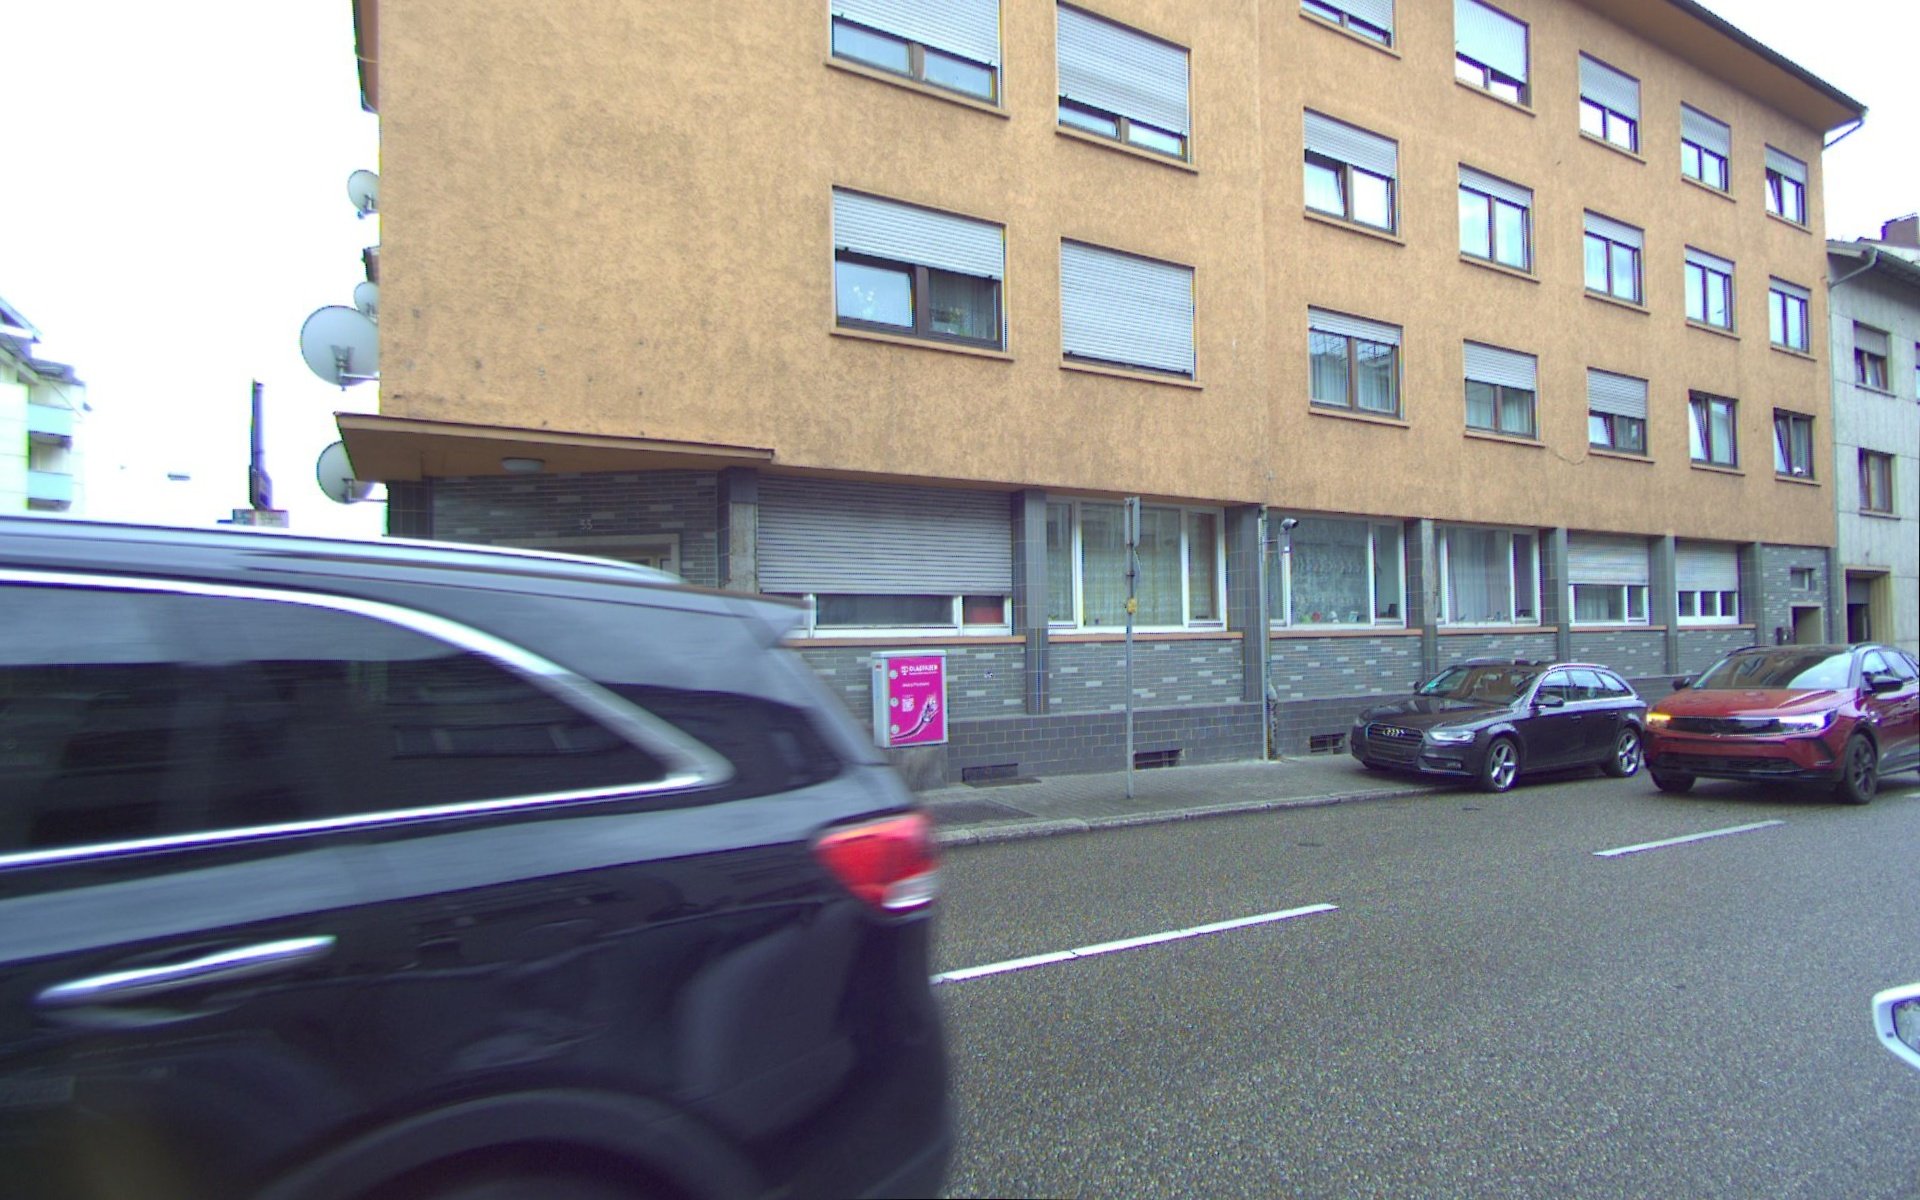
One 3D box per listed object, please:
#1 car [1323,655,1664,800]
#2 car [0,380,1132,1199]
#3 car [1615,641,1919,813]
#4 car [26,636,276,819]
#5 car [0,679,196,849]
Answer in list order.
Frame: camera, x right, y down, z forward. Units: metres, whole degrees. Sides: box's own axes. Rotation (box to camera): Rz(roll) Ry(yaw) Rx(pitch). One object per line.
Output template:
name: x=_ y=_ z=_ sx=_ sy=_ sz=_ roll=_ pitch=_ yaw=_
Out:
car: x=6.896 y=1.493 z=12.863 sx=4.475 sy=1.457 sz=1.786 roll=1 pitch=0 yaw=-31
car: x=-2.041 y=0.683 z=1.517 sx=4.423 sy=1.749 sz=1.828 roll=1 pitch=-5 yaw=-31
car: x=9.439 y=1.290 z=11.298 sx=4.268 sy=1.605 sz=1.788 roll=2 pitch=-4 yaw=-32
car: x=-13.243 y=2.100 z=16.951 sx=2.223 sy=2.492 sz=6.017 roll=1 pitch=-7 yaw=-29
car: x=-10.202 y=1.831 z=11.387 sx=1.820 sy=1.596 sz=4.127 roll=1 pitch=-8 yaw=-29
